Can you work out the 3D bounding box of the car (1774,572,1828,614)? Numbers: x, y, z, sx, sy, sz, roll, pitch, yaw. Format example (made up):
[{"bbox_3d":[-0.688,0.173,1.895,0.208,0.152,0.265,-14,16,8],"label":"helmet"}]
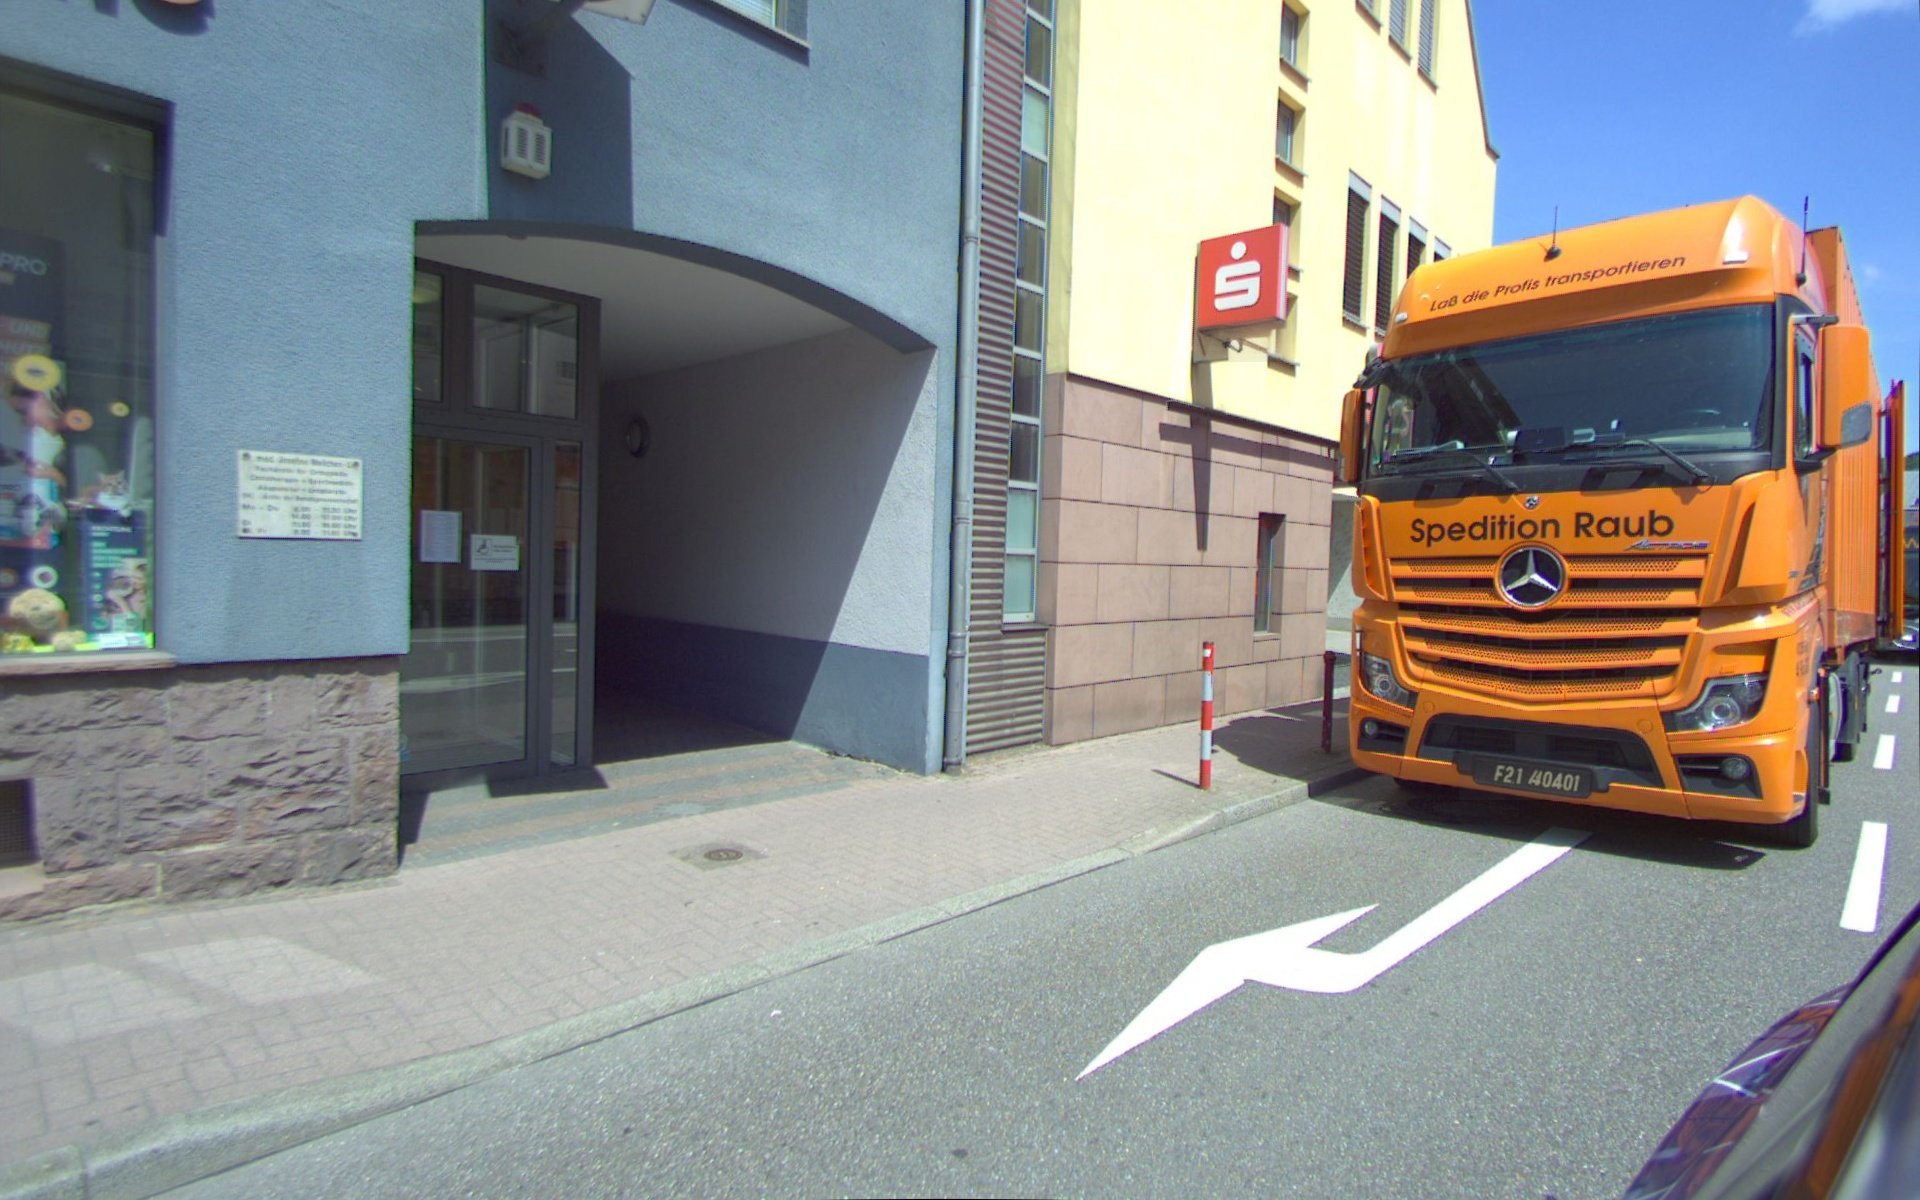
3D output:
[{"bbox_3d":[41.231,-0.409,49.682,1.780,1.851,4.294,5,4,37],"label":"car"}]

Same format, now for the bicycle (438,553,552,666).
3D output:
[{"bbox_3d":[-5.399,0.069,11.686,0.505,1.078,2.066,0,5,-44],"label":"bicycle"}]

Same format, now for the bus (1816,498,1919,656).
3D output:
[{"bbox_3d":[26.130,-0.518,27.799,2.845,3.244,18.777,2,2,37],"label":"bus"}]

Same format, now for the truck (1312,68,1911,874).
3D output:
[{"bbox_3d":[6.804,-0.617,9.410,9.827,3.995,2.610,1,0,-45],"label":"truck"}]
